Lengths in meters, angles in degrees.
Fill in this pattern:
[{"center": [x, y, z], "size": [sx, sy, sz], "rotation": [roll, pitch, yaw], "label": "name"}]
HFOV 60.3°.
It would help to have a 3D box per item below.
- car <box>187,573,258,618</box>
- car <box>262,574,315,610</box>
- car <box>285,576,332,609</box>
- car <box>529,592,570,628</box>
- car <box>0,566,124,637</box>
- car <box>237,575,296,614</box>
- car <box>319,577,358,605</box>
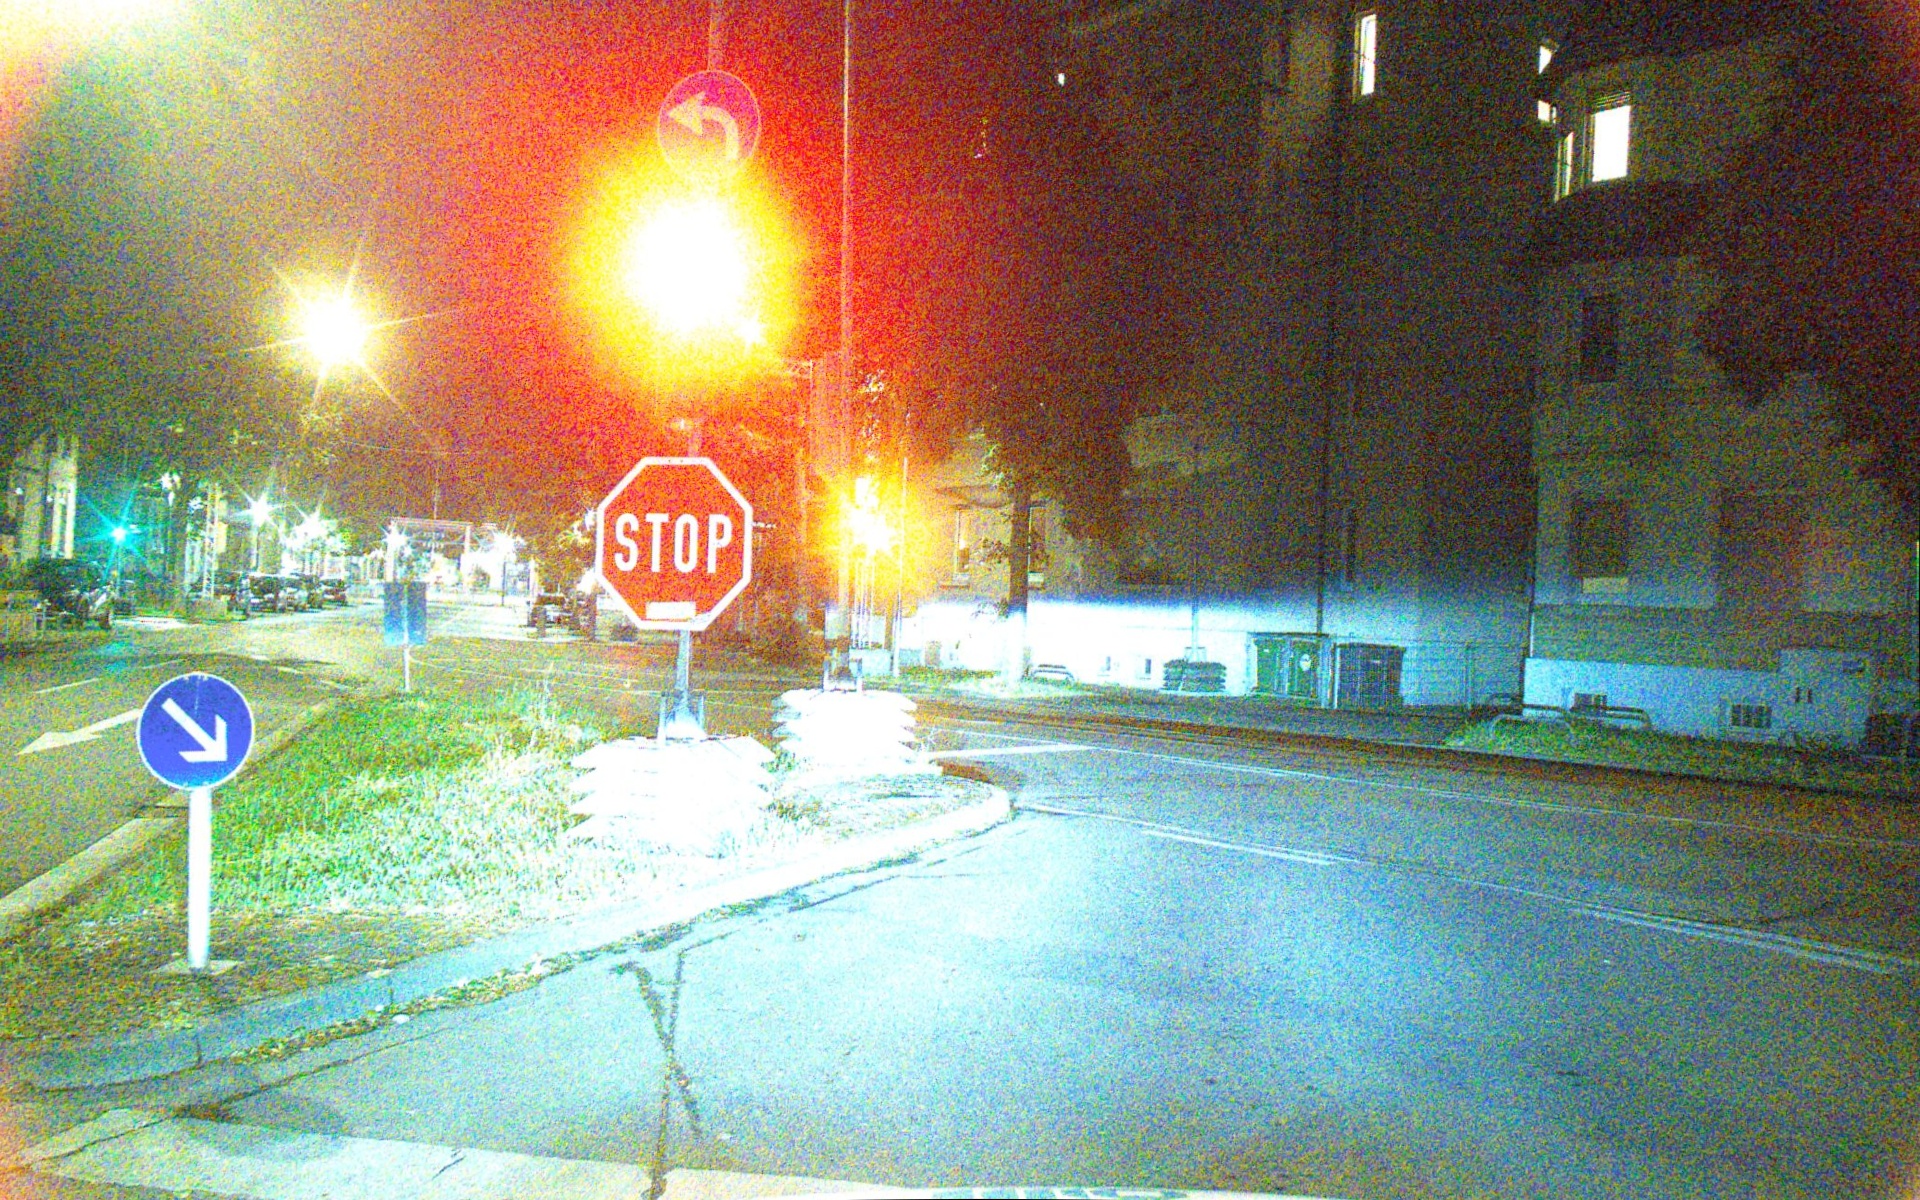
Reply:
[{"center": [-25.869, -0.154, 58.110], "size": [1.624, 1.456, 3.983], "rotation": [2, 0, -15], "label": "car"}, {"center": [-29.224, -0.348, 72.101], "size": [1.624, 1.456, 3.983], "rotation": [2, 0, -15], "label": "car"}, {"center": [-30.906, -0.347, 78.528], "size": [1.624, 1.456, 3.983], "rotation": [2, 0, -15], "label": "car"}, {"center": [-17.779, 0.431, 71.622], "size": [1.623, 1.456, 3.985], "rotation": [2, 0, -14], "label": "car"}, {"center": [-20.156, 0.019, 37.151], "size": [1.624, 1.456, 3.983], "rotation": [2, 0, -15], "label": "car"}, {"center": [-27.664, -0.211, 66.096], "size": [1.624, 1.456, 3.983], "rotation": [2, 0, -15], "label": "car"}, {"center": [-34.434, -0.473, 91.746], "size": [1.624, 1.456, 3.983], "rotation": [2, 0, -15], "label": "car"}]
